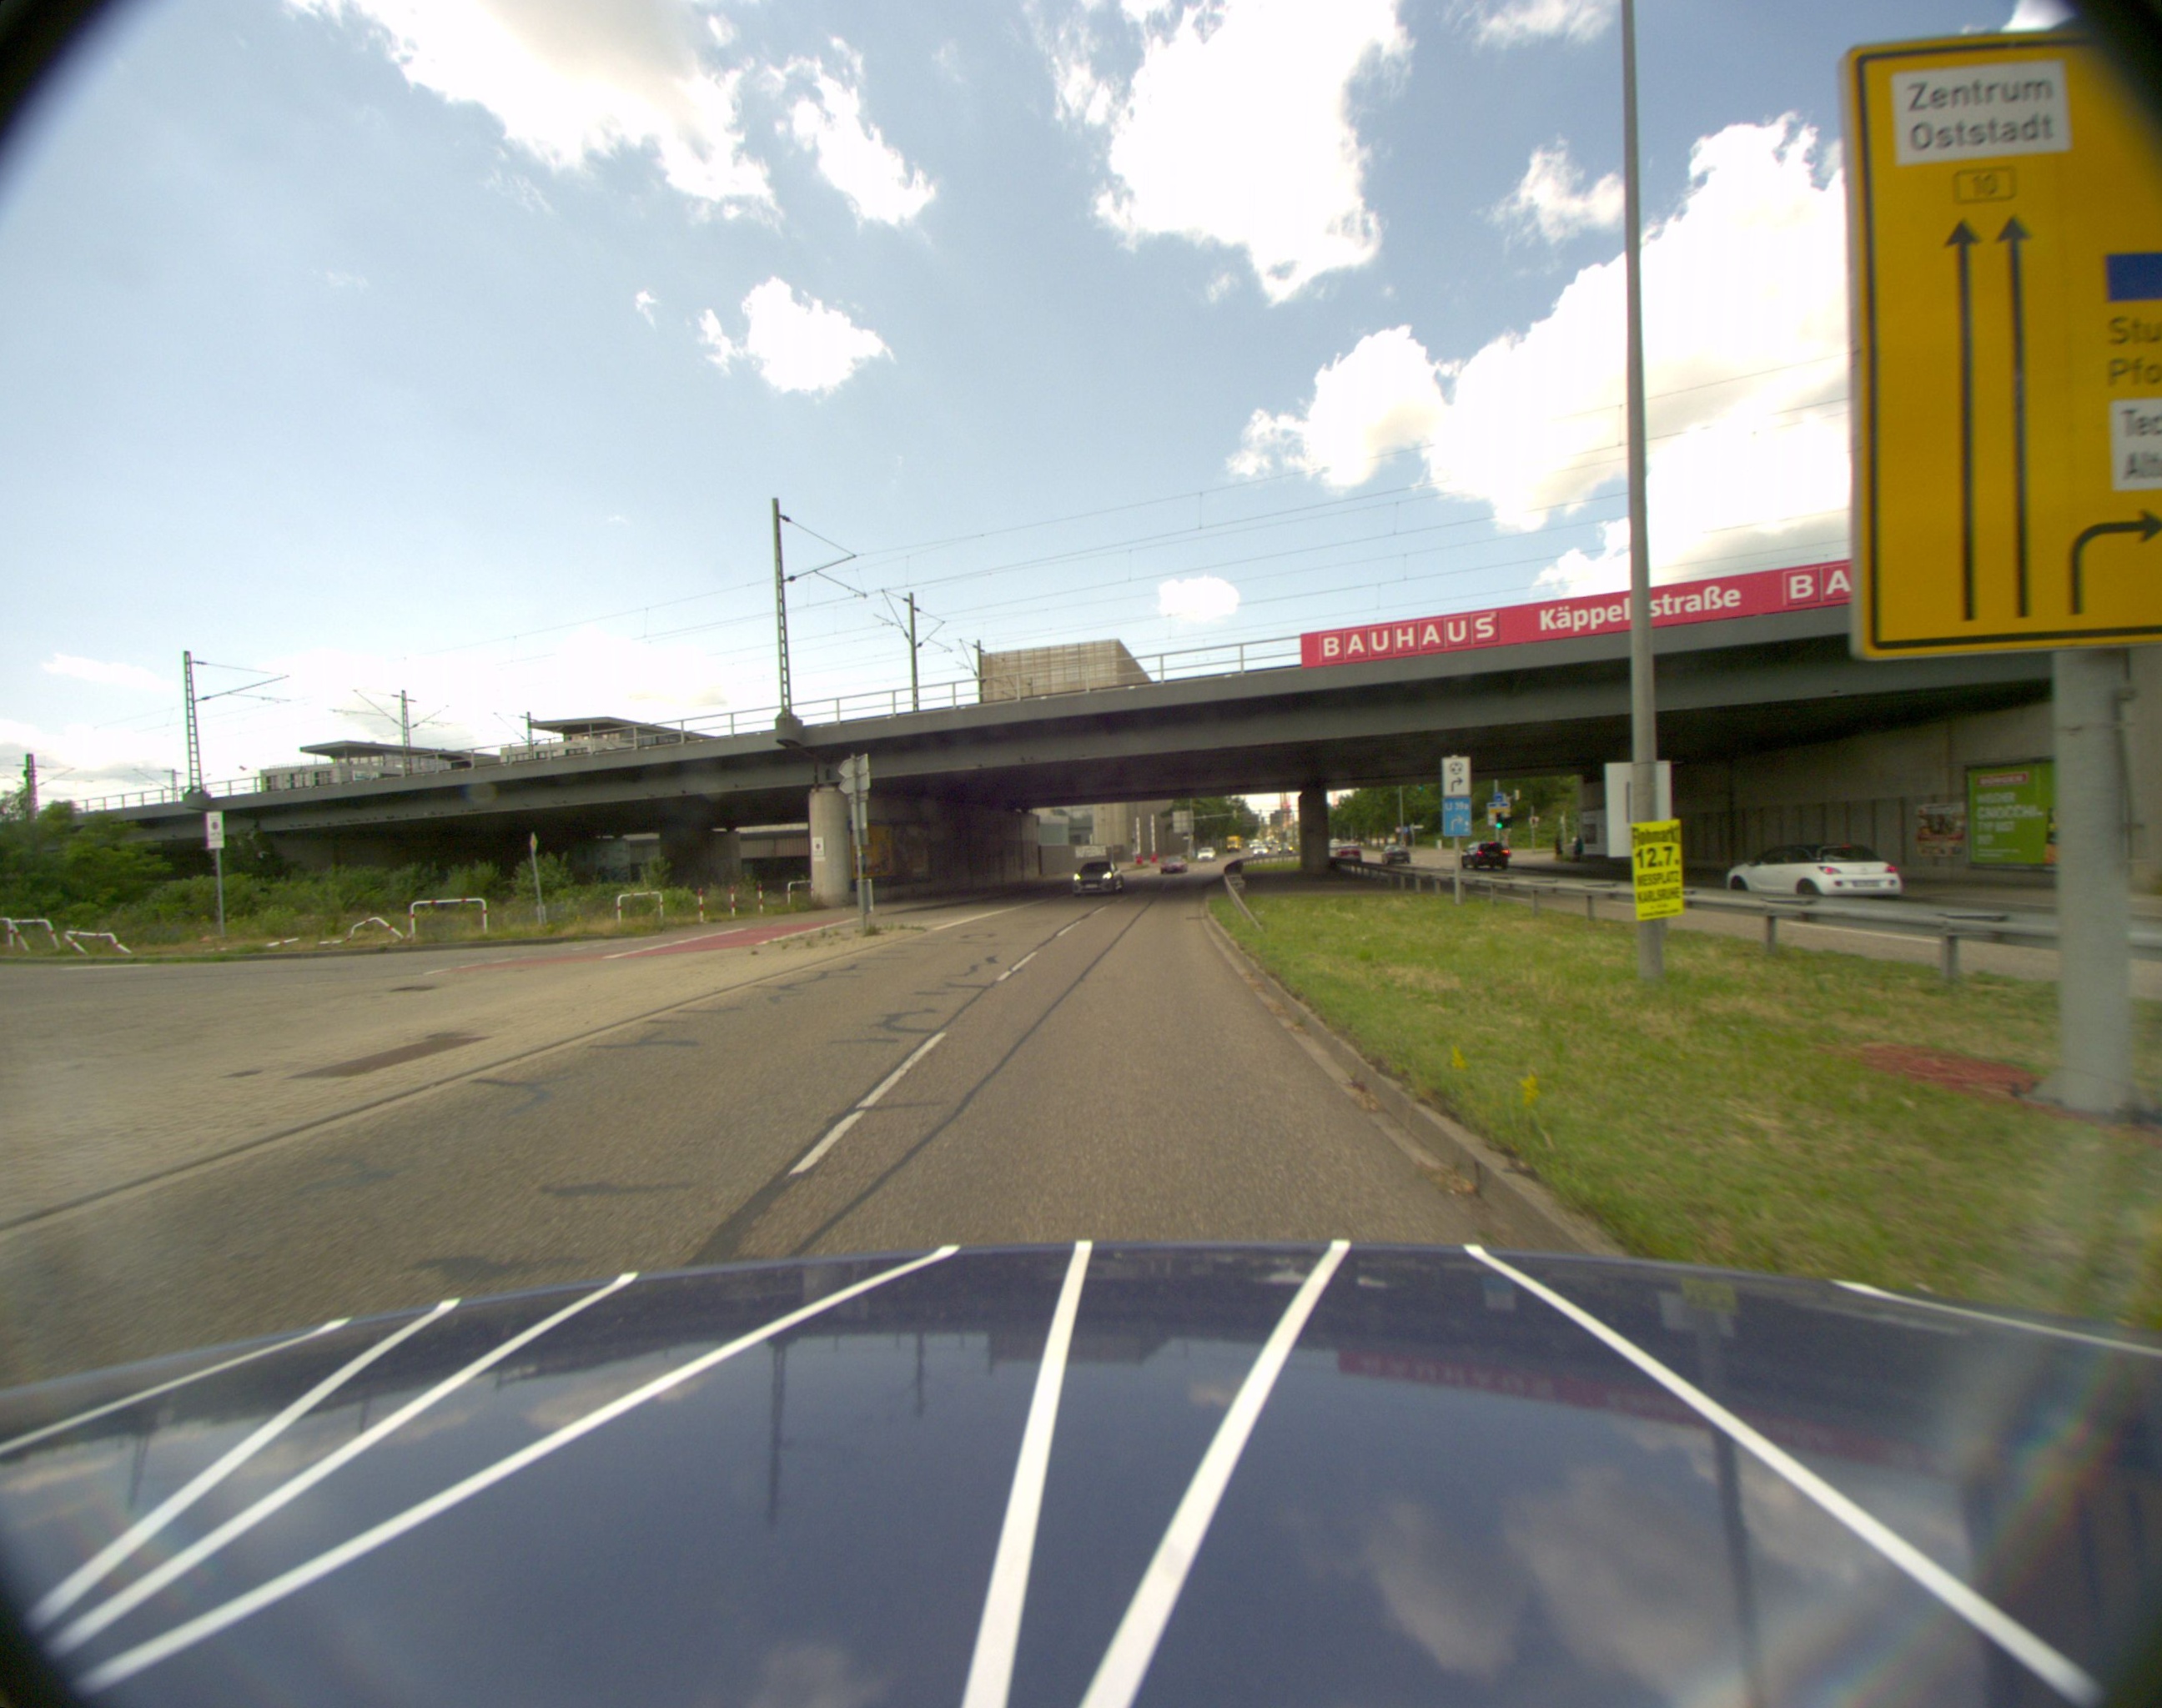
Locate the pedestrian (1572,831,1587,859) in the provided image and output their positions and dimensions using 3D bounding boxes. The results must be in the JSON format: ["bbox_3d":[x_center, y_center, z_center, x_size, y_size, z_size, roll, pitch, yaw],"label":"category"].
[{"bbox_3d":[29.353,-0.510,44.781,0.555,1.616,0.587,-2,1,16],"label":"pedestrian"}]

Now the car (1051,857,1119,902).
[{"bbox_3d":[0.255,1.041,32.209,1.821,1.565,3.957,-4,1,15],"label":"car"}]

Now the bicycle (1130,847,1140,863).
[{"bbox_3d":[6.017,0.092,84.744,0.721,1.764,2.535,-2,1,11],"label":"bicycle"}]

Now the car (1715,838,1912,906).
[{"bbox_3d":[18.493,0.402,19.466,1.755,1.502,4.003,-2,0,12],"label":"car"}]

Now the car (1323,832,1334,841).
[{"bbox_3d":[50.357,-3.567,154.477,1.928,1.521,4.003,-1,2,15],"label":"car"}]

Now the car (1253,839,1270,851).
[{"bbox_3d":[23.343,-1.154,98.067,1.918,1.406,4.299,-5,0,15],"label":"car"}]

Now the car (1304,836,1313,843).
[{"bbox_3d":[66.216,-4.276,221.510,2.194,1.952,5.198,-2,1,14],"label":"car"}]

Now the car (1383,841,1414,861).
[{"bbox_3d":[24.711,-0.250,59.166,1.950,1.366,4.004,-3,1,20],"label":"car"}]

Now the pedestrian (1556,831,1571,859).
[{"bbox_3d":[28.999,-0.561,45.689,0.591,1.671,0.556,-2,1,13],"label":"pedestrian"}]

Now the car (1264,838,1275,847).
[{"bbox_3d":[34.366,-2.089,138.302,1.780,1.488,3.601,-2,1,15],"label":"car"}]

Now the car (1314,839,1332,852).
[{"bbox_3d":[34.847,-1.261,109.364,1.996,1.749,4.720,-2,1,13],"label":"car"}]

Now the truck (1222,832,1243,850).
[{"bbox_3d":[27.180,-2.324,136.213,3.063,3.095,7.942,-2,1,15],"label":"truck"}]

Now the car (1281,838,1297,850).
[{"bbox_3d":[28.112,-1.314,102.691,1.996,1.407,4.836,-4,1,15],"label":"car"}]

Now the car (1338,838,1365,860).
[{"bbox_3d":[22.415,-0.443,62.934,1.996,1.665,4.328,-2,1,21],"label":"car"}]

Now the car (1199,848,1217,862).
[{"bbox_3d":[14.756,0.068,88.386,1.711,1.488,3.653,-2,1,15],"label":"car"}]

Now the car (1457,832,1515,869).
[{"bbox_3d":[24.336,-0.238,45.796,1.996,2.002,4.340,-2,1,13],"label":"car"}]
